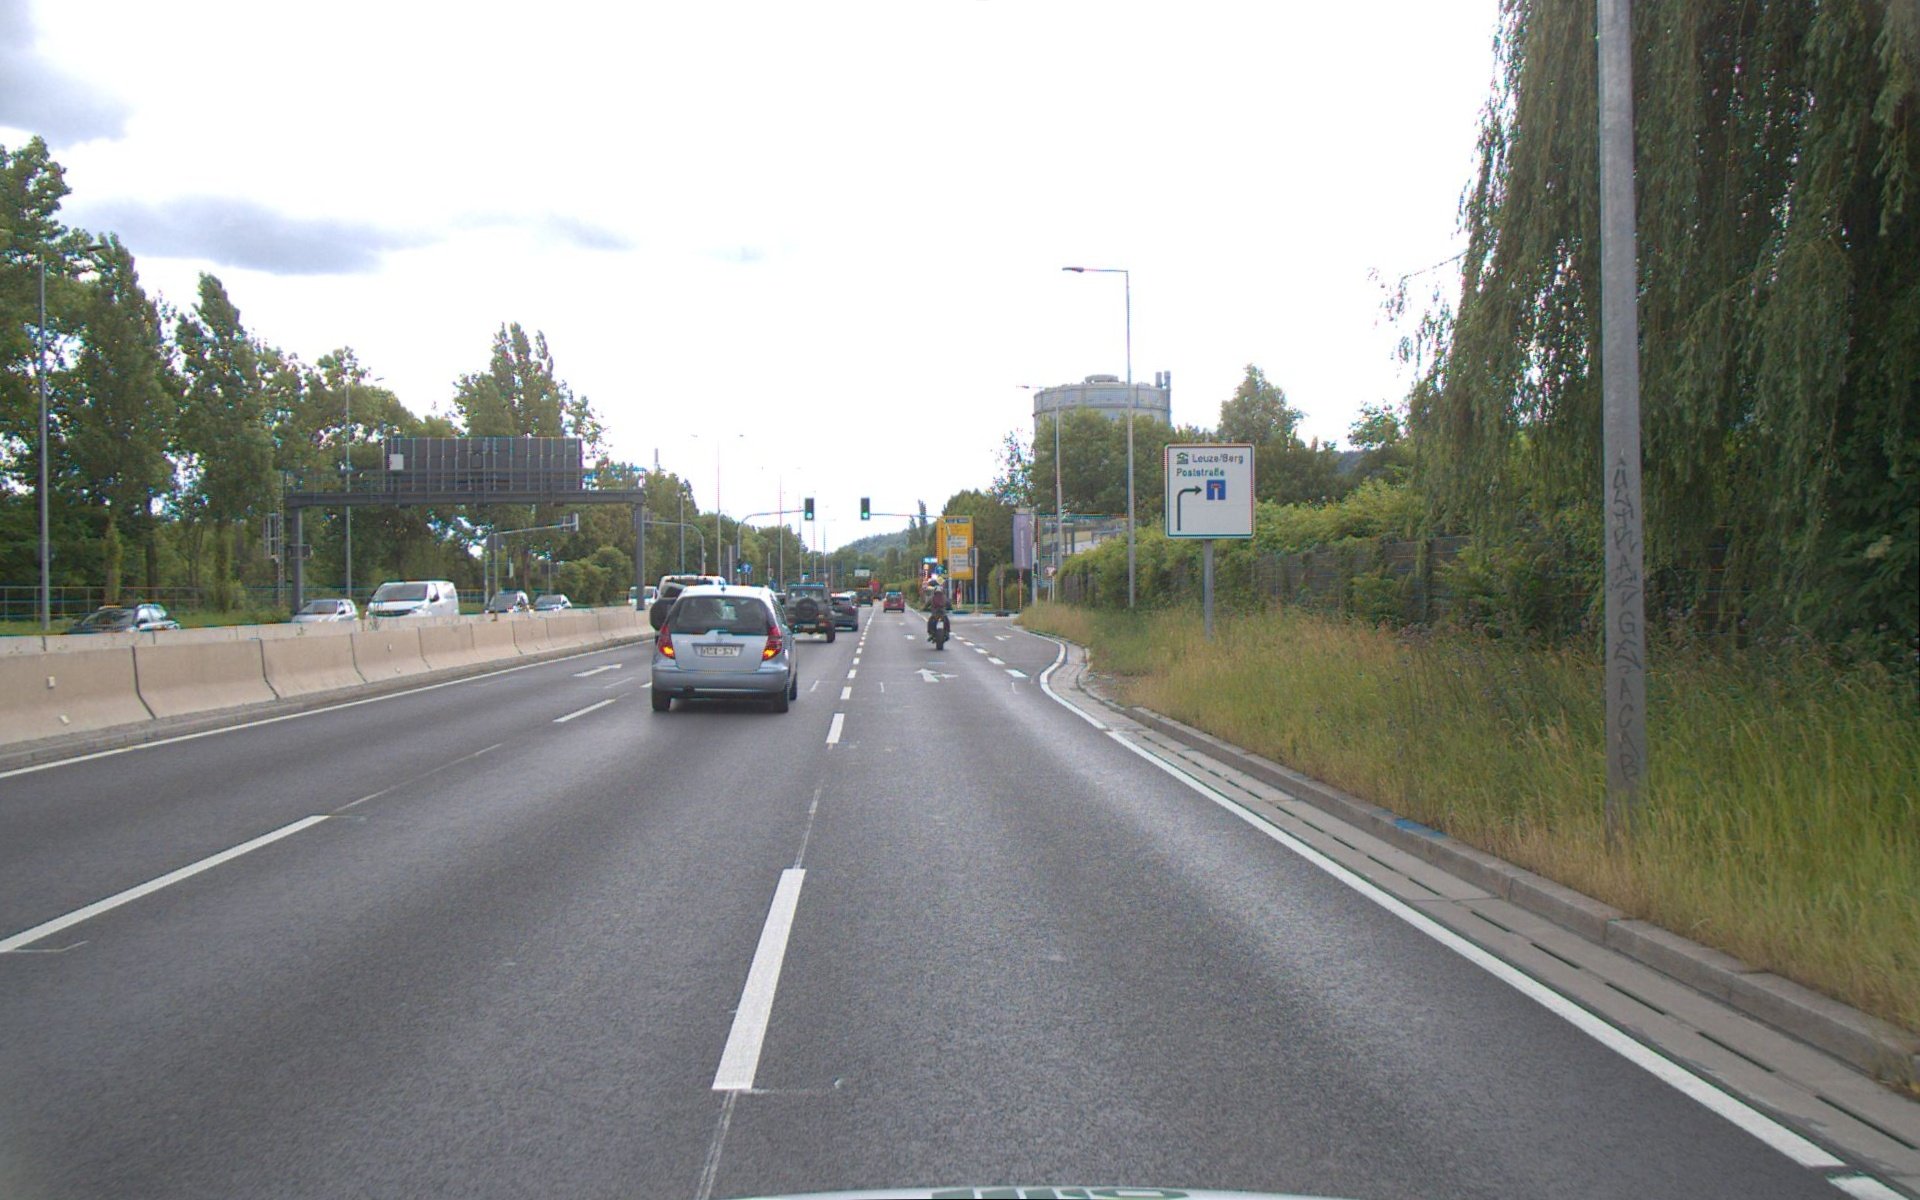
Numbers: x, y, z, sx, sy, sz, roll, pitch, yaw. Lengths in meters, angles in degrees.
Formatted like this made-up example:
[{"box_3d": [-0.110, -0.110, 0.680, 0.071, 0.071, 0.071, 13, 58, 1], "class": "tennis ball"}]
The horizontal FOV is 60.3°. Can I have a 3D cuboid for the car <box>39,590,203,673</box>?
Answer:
[{"box_3d": [-22.221, 0.775, 44.014, 1.953, 2.049, 4.664, 2, 0, 0], "class": "car"}]

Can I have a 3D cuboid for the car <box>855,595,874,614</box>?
[{"box_3d": [-10.585, 0.491, 183.666, 1.953, 2.049, 3.998, 2, 0, -2], "class": "car"}]

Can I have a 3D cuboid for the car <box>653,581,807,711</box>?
[{"box_3d": [-2.996, 0.550, 22.228, 1.676, 1.556, 3.998, 2, 0, -3], "class": "car"}]

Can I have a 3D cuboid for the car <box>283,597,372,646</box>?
[{"box_3d": [-23.410, 0.771, 61.382, 1.840, 1.712, 4.120, 2, 0, -3], "class": "car"}]

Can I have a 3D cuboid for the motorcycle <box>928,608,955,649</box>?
[{"box_3d": [-0.516, 0.759, 44.765, 0.692, 1.058, 2.026, 1, 0, -1], "class": "motorcycle"}]

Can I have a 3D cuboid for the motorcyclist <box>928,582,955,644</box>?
[{"box_3d": [-0.507, 0.348, 44.800, 0.671, 1.638, 0.845, 1, 0, -1], "class": "motorcyclist"}]

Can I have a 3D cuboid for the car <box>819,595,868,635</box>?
[{"box_3d": [-4.592, 0.568, 65.658, 1.803, 1.489, 3.998, 2, 0, -3], "class": "car"}]

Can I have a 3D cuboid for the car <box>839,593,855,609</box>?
[{"box_3d": [-15.135, 0.074, 221.679, 1.953, 2.049, 3.998, 2, 0, -2], "class": "car"}]

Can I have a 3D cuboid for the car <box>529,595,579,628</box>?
[{"box_3d": [-22.223, 0.594, 90.659, 1.840, 1.712, 4.123, 2, 0, -3], "class": "car"}]

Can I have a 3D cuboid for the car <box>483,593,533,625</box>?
[{"box_3d": [-25.577, 0.481, 93.723, 1.840, 1.712, 3.925, 2, 0, -3], "class": "car"}]

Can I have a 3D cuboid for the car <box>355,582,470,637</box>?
[{"box_3d": [-16.993, 0.269, 51.574, 1.953, 1.586, 4.885, 2, 0, -1], "class": "car"}]

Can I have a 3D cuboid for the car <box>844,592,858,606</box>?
[{"box_3d": [-16.175, -0.128, 246.185, 1.953, 2.049, 3.998, 2, 0, -2], "class": "car"}]

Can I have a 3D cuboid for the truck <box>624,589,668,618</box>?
[{"box_3d": [-23.377, 0.243, 123.351, 2.160, 2.049, 6.300, 2, 0, -2], "class": "truck"}]

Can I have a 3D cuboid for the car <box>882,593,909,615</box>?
[{"box_3d": [-5.054, 0.286, 129.159, 1.954, 1.579, 3.997, 2, 0, -4], "class": "car"}]

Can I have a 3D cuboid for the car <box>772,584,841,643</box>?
[{"box_3d": [-4.667, 0.384, 50.778, 1.869, 1.713, 3.998, 2, 0, -3], "class": "car"}]

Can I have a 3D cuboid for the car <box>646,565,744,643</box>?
[{"box_3d": [-7.138, 0.084, 45.010, 2.171, 1.959, 4.998, 2, 0, -4], "class": "car"}]
